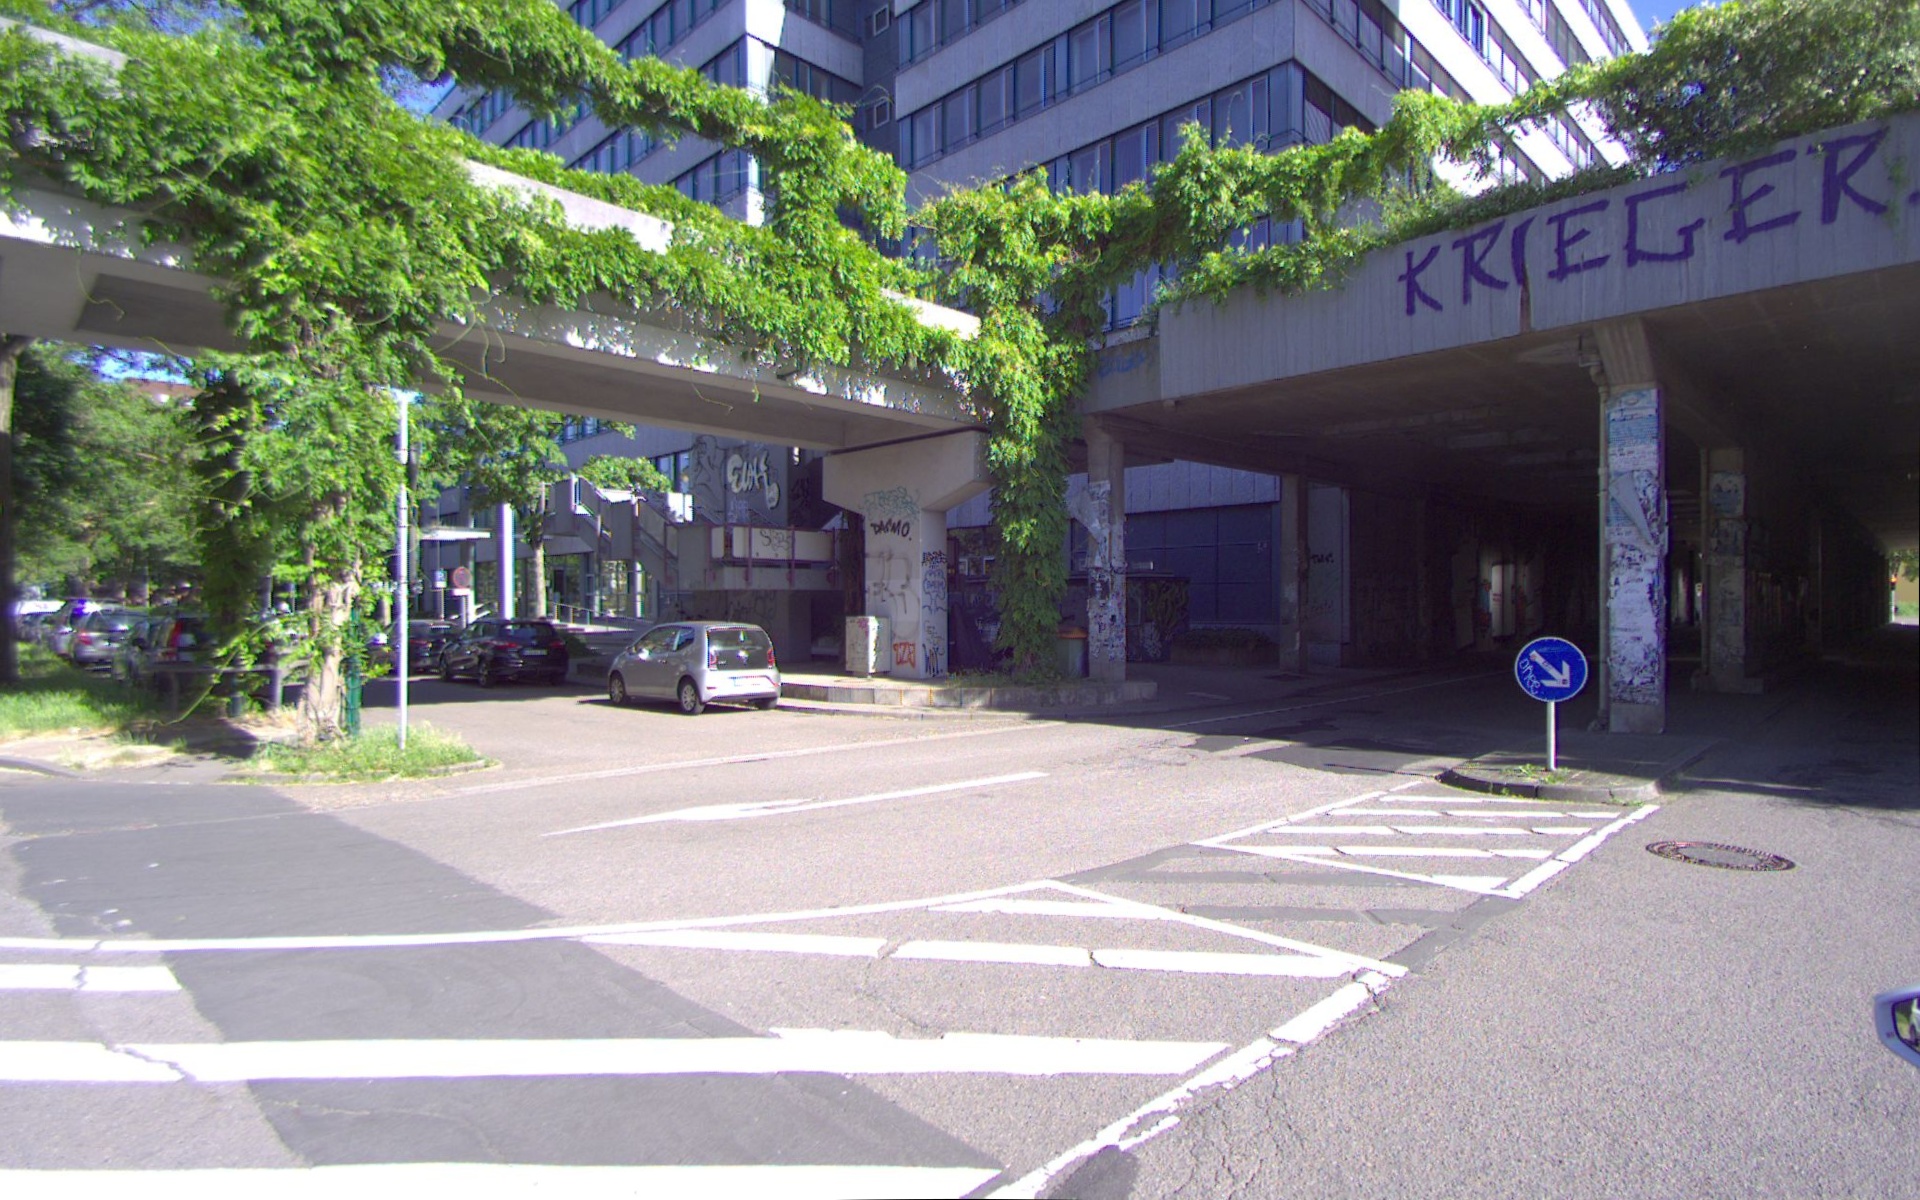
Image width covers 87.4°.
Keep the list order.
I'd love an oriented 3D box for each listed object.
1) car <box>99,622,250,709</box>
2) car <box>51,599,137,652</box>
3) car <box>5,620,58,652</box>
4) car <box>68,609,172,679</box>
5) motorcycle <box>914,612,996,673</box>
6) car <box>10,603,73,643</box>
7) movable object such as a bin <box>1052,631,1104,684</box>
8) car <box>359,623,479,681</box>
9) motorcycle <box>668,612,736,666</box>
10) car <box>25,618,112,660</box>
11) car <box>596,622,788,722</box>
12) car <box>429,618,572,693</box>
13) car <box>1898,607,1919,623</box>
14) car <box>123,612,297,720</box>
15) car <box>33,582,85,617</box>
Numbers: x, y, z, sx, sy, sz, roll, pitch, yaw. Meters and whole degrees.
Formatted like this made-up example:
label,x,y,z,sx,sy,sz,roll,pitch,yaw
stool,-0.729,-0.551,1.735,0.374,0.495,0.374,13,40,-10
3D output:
label,x,y,z,sx,sy,sz,roll,pitch,yaw
car,-15.308,1.223,19.492,4.223,1.467,1.649,-1,-4,44
car,-27.447,0.769,31.777,4.388,1.569,1.724,-1,0,45
car,-43.008,1.623,46.482,1.670,1.350,4.133,0,0,-45
car,-21.930,1.079,26.177,1.767,1.668,4.029,0,-1,-45
motorcycle,-0.096,0.917,22.413,0.671,1.281,1.981,0,0,43
car,-46.225,1.111,50.516,4.463,1.934,2.059,-1,0,44
movable object such as a bin,2.162,1.043,18.401,0.709,0.917,0.637,0,0,43
car,-14.582,1.333,26.987,3.746,1.422,1.677,-1,-1,42
motorcycle,-6.461,0.957,25.098,2.025,1.287,0.727,0,0,44
car,-32.821,1.387,36.944,4.423,1.402,1.714,-1,0,39
car,-4.679,1.146,17.276,3.598,1.506,1.601,-1,-1,44
car,-10.576,1.204,23.016,3.946,1.550,1.727,-1,-1,45
car,97.447,1.531,101.368,1.626,1.595,3.953,0,-1,-40
car,-12.320,1.001,16.426,1.735,1.558,3.729,4,-3,-45
car,-55.160,0.006,61.477,4.234,2.040,1.989,0,0,42
